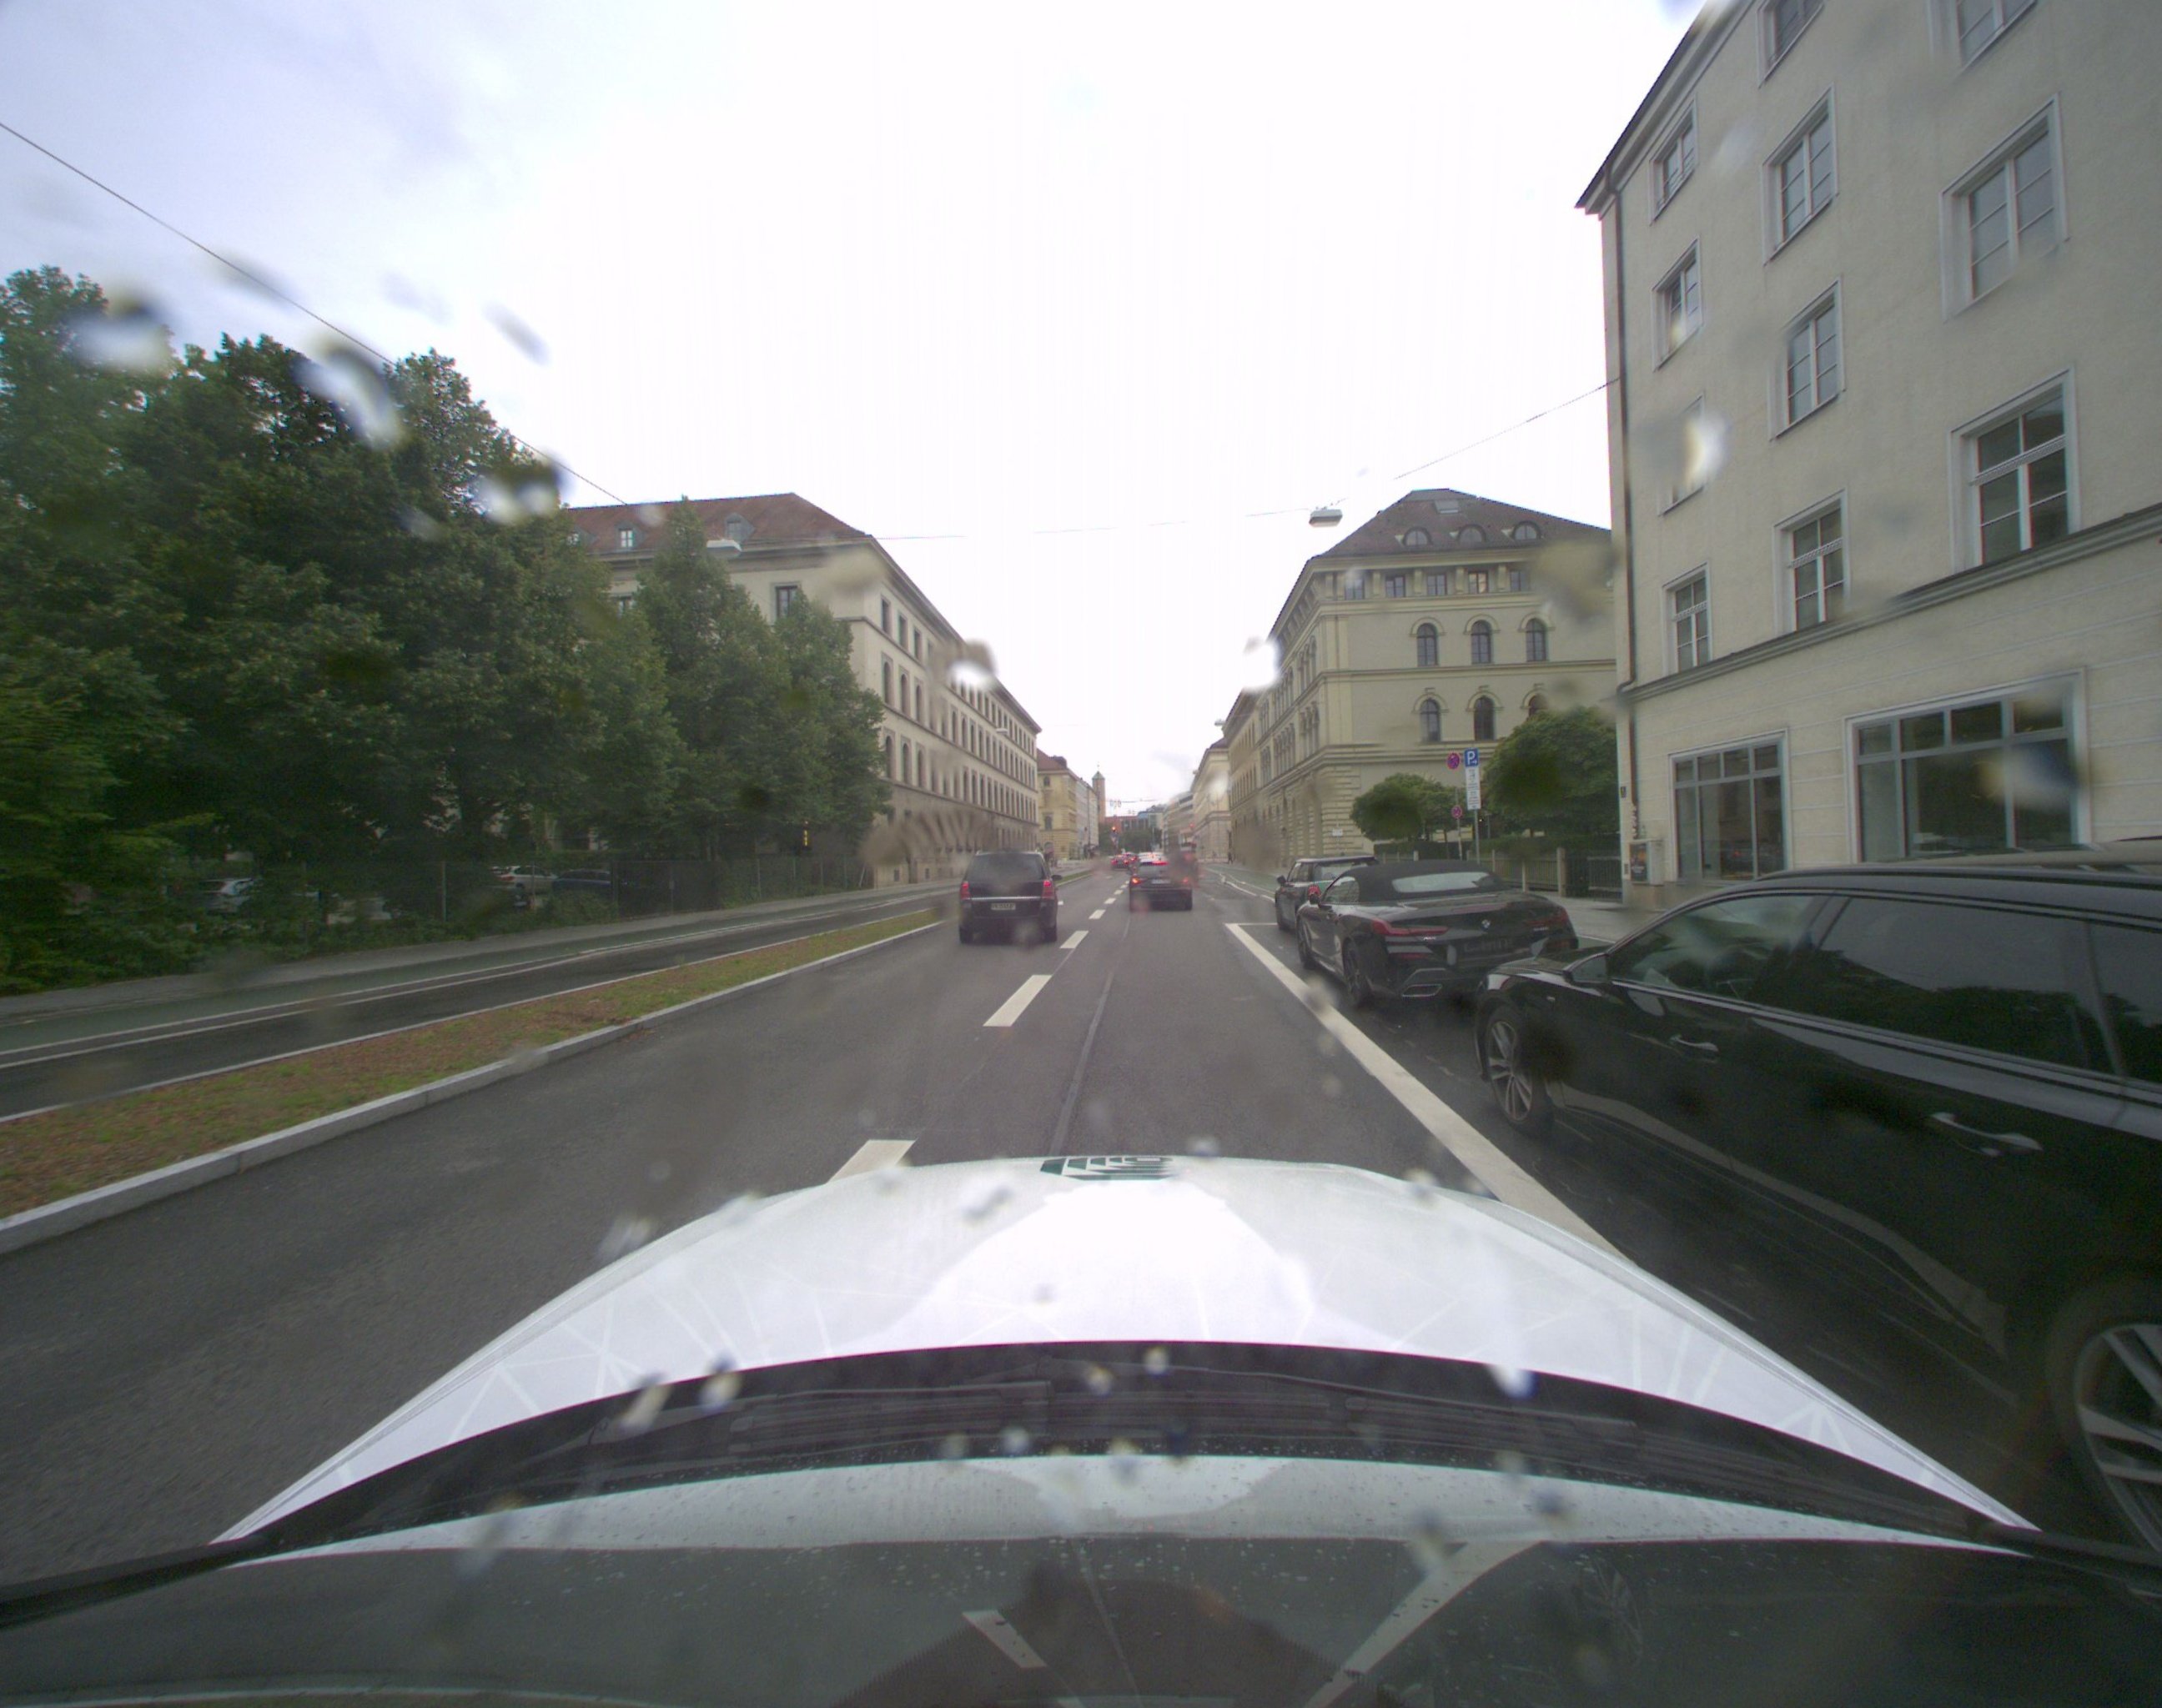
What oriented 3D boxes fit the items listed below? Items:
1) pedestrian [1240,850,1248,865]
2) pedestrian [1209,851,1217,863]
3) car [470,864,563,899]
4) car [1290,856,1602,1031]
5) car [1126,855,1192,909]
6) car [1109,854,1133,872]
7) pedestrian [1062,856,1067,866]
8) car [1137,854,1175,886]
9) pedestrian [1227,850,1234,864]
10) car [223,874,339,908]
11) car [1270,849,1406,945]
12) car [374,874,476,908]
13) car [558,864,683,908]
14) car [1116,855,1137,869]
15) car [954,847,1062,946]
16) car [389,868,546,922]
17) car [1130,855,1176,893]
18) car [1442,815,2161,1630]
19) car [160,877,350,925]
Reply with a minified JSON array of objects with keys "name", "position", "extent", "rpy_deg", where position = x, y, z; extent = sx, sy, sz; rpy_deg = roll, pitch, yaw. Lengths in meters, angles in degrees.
[{"name":"pedestrian","position":[17.673,0.349,88.355],"extent":[0.706,1.618,0.755],"rpy_deg":[-2,0,4]},{"name":"pedestrian","position":[18.718,0.403,115.428],"extent":[0.713,1.618,0.748],"rpy_deg":[-1,0,-24]},{"name":"car","position":[-28.687,1.360,41.530],"extent":[1.657,1.640,4.006],"rpy_deg":[-1,0,5]},{"name":"car","position":[3.609,0.749,9.092],"extent":[1.816,1.407,4.728],"rpy_deg":[-1,0,6]},{"name":"car","position":[2.220,0.737,23.310],"extent":[1.722,1.403,4.006],"rpy_deg":[0,0,5]},{"name":"car","position":[3.833,0.800,77.757],"extent":[1.984,1.627,4.006],"rpy_deg":[-2,0,6]},{"name":"pedestrian","position":[-2.909,1.219,144.342],"extent":[0.653,1.805,0.728],"rpy_deg":[-2,0,4]},{"name":"car","position":[3.590,0.734,38.904],"extent":[1.722,1.461,4.006],"rpy_deg":[0,0,5]},{"name":"pedestrian","position":[17.686,0.398,96.569],"extent":[0.706,1.618,0.755],"rpy_deg":[-2,0,4]},{"name":"car","position":[-41.113,1.875,41.991],"extent":[1.762,1.544,4.005],"rpy_deg":[-2,0,5]},{"name":"car","position":[4.538,0.684,14.930],"extent":[1.666,1.521,3.836],"rpy_deg":[-1,0,6]},{"name":"car","position":[-33.631,1.851,41.878],"extent":[1.762,1.544,4.005],"rpy_deg":[-2,0,5]},{"name":"car","position":[-19.280,1.326,34.190],"extent":[4.242,1.649,1.807],"rpy_deg":[-2,0,5]},{"name":"car","position":[4.951,0.812,88.433],"extent":[1.984,1.444,4.006],"rpy_deg":[-2,0,6]},{"name":"car","position":[-1.405,0.702,15.545],"extent":[1.762,1.616,4.022],"rpy_deg":[-1,0,-6]},{"name":"car","position":[-20.305,1.328,27.008],"extent":[4.118,1.589,1.810],"rpy_deg":[-2,0,12]},{"name":"car","position":[2.875,0.755,32.596],"extent":[1.722,1.403,4.006],"rpy_deg":[0,0,5]},{"name":"car","position":[3.004,0.686,2.646],"extent":[1.801,1.480,4.466],"rpy_deg":[-6,0,4]},{"name":"car","position":[-29.993,1.664,29.827],"extent":[1.984,1.441,4.639],"rpy_deg":[-2,0,5]}]
